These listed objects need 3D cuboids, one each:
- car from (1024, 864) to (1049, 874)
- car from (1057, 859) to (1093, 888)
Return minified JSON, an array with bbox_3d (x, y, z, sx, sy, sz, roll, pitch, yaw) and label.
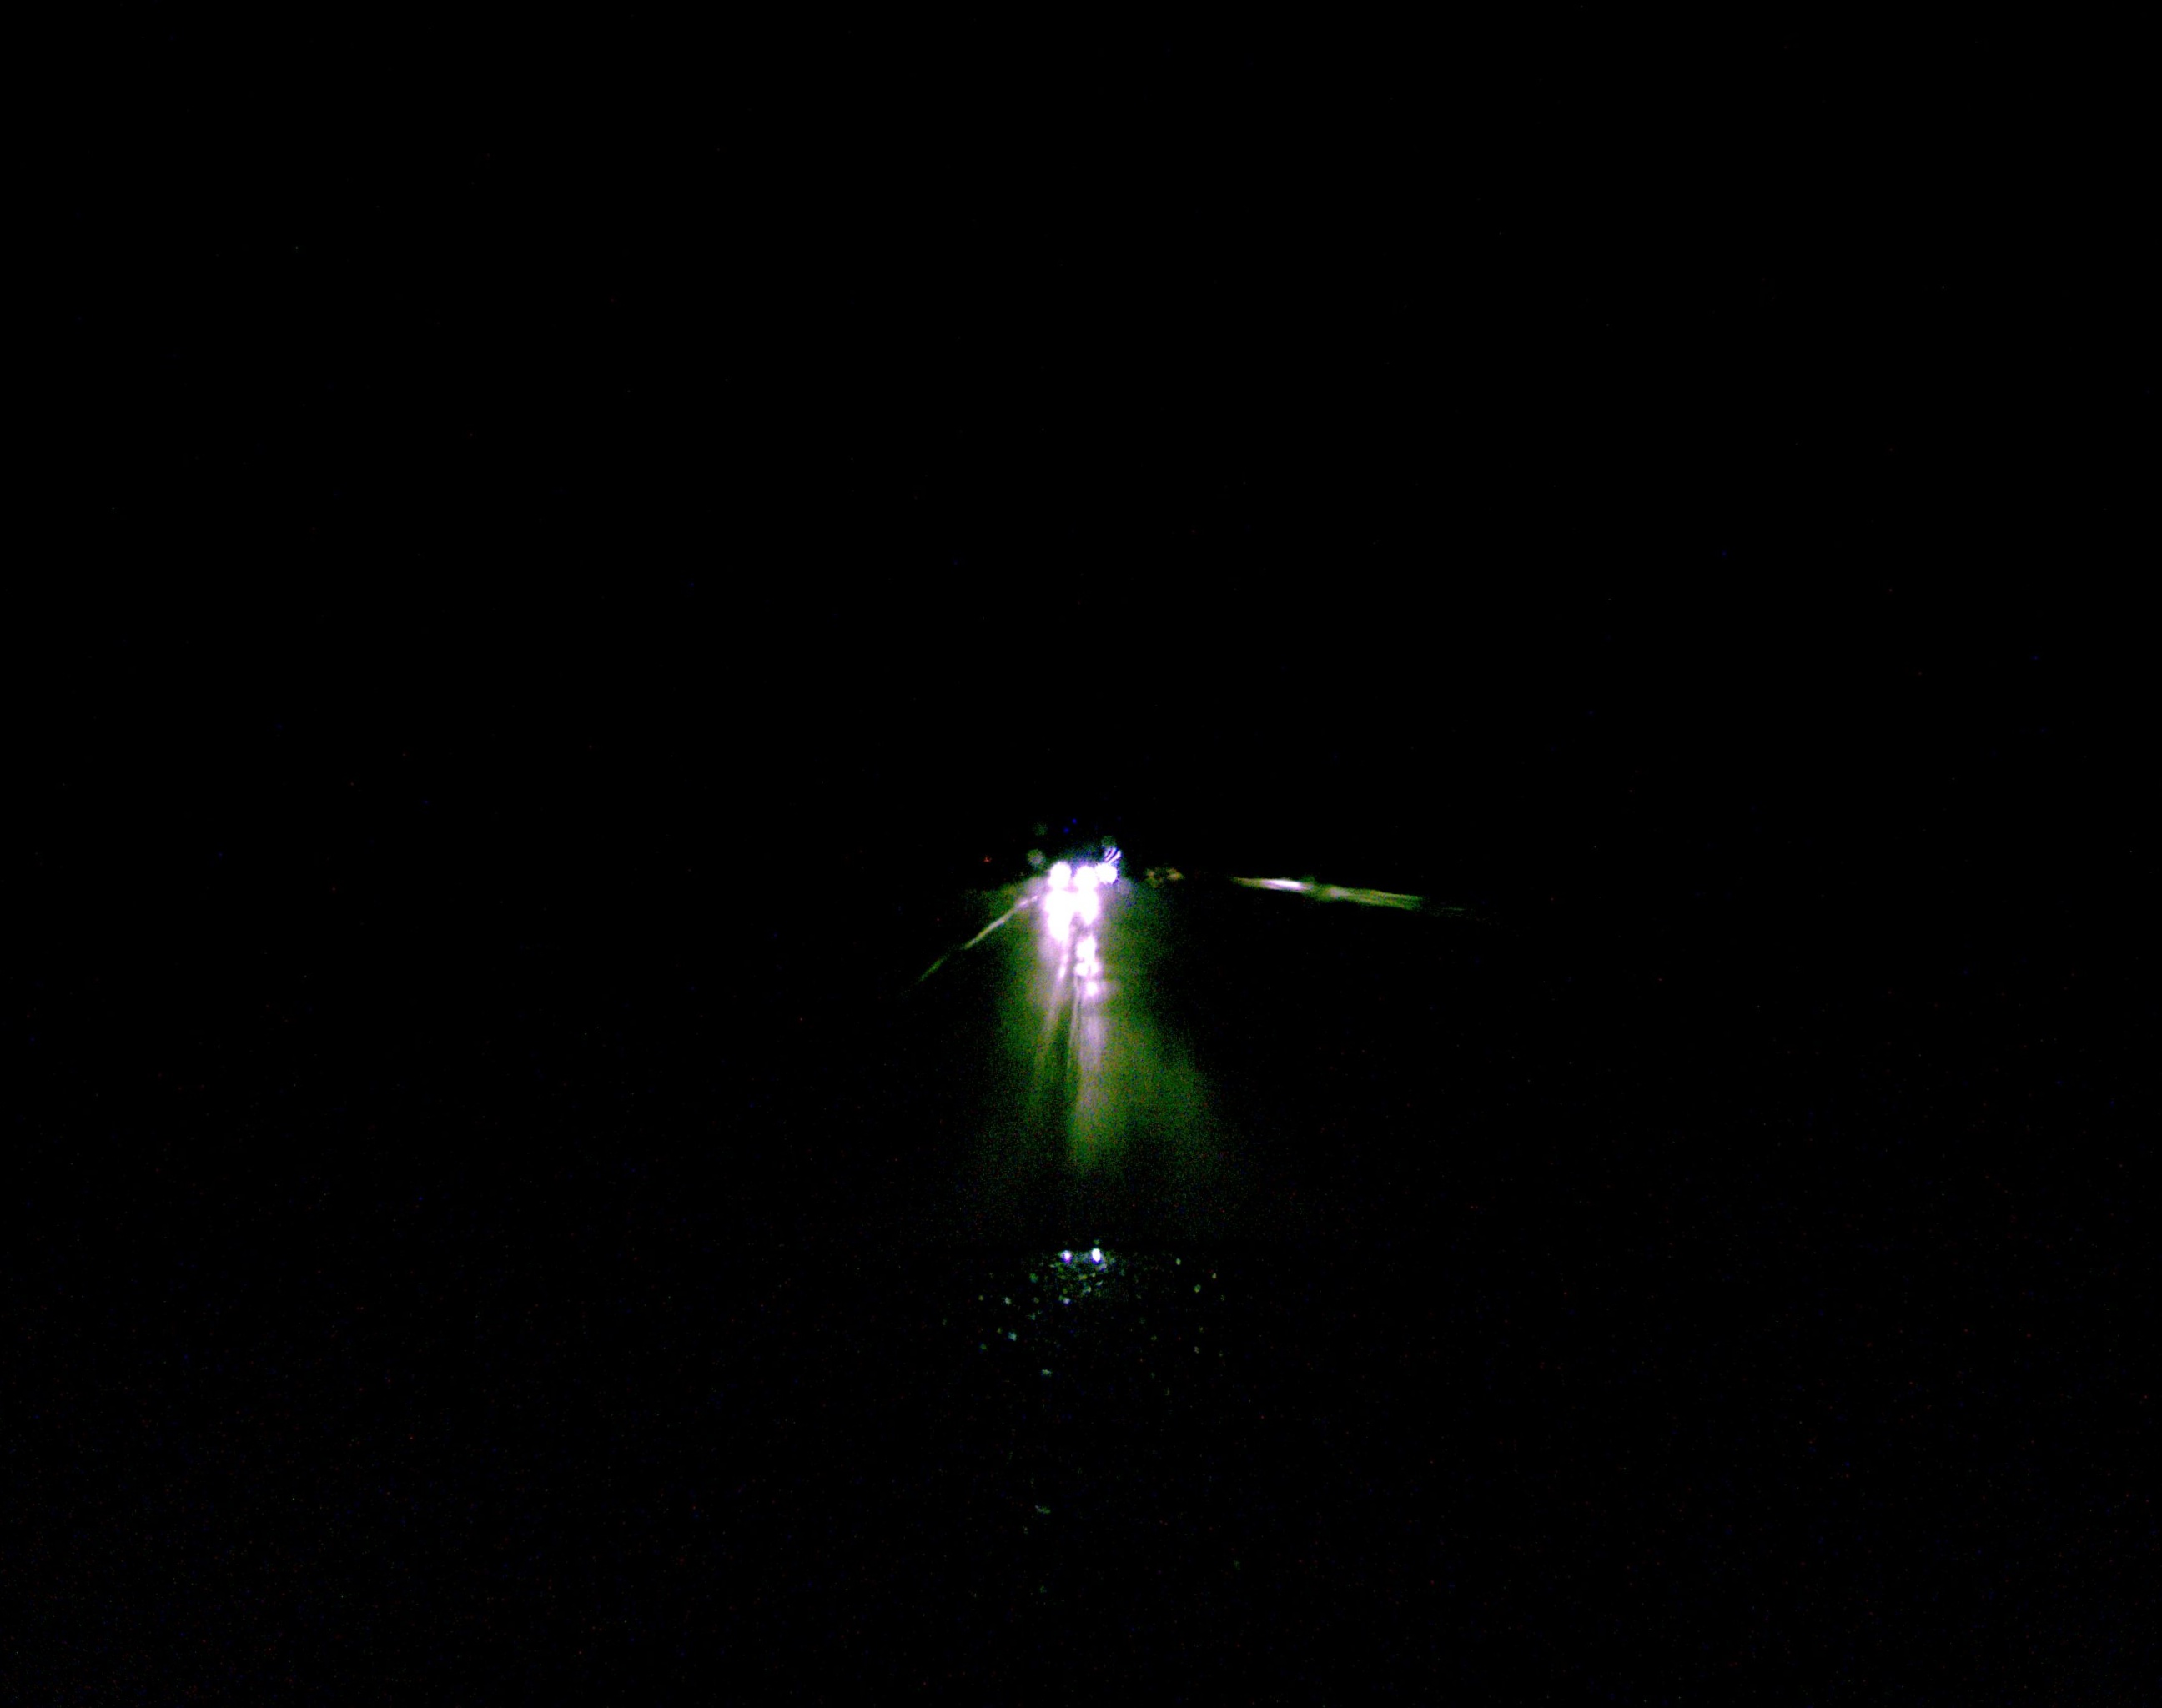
[{"bbox_3d":[-9.415,3.102,161.107,4.952,1.827,1.932,3,-2,-13],"label":"car"},{"bbox_3d":[-0.386,1.125,42.905,1.901,1.551,4.000,1,-2,-2],"label":"car"}]
